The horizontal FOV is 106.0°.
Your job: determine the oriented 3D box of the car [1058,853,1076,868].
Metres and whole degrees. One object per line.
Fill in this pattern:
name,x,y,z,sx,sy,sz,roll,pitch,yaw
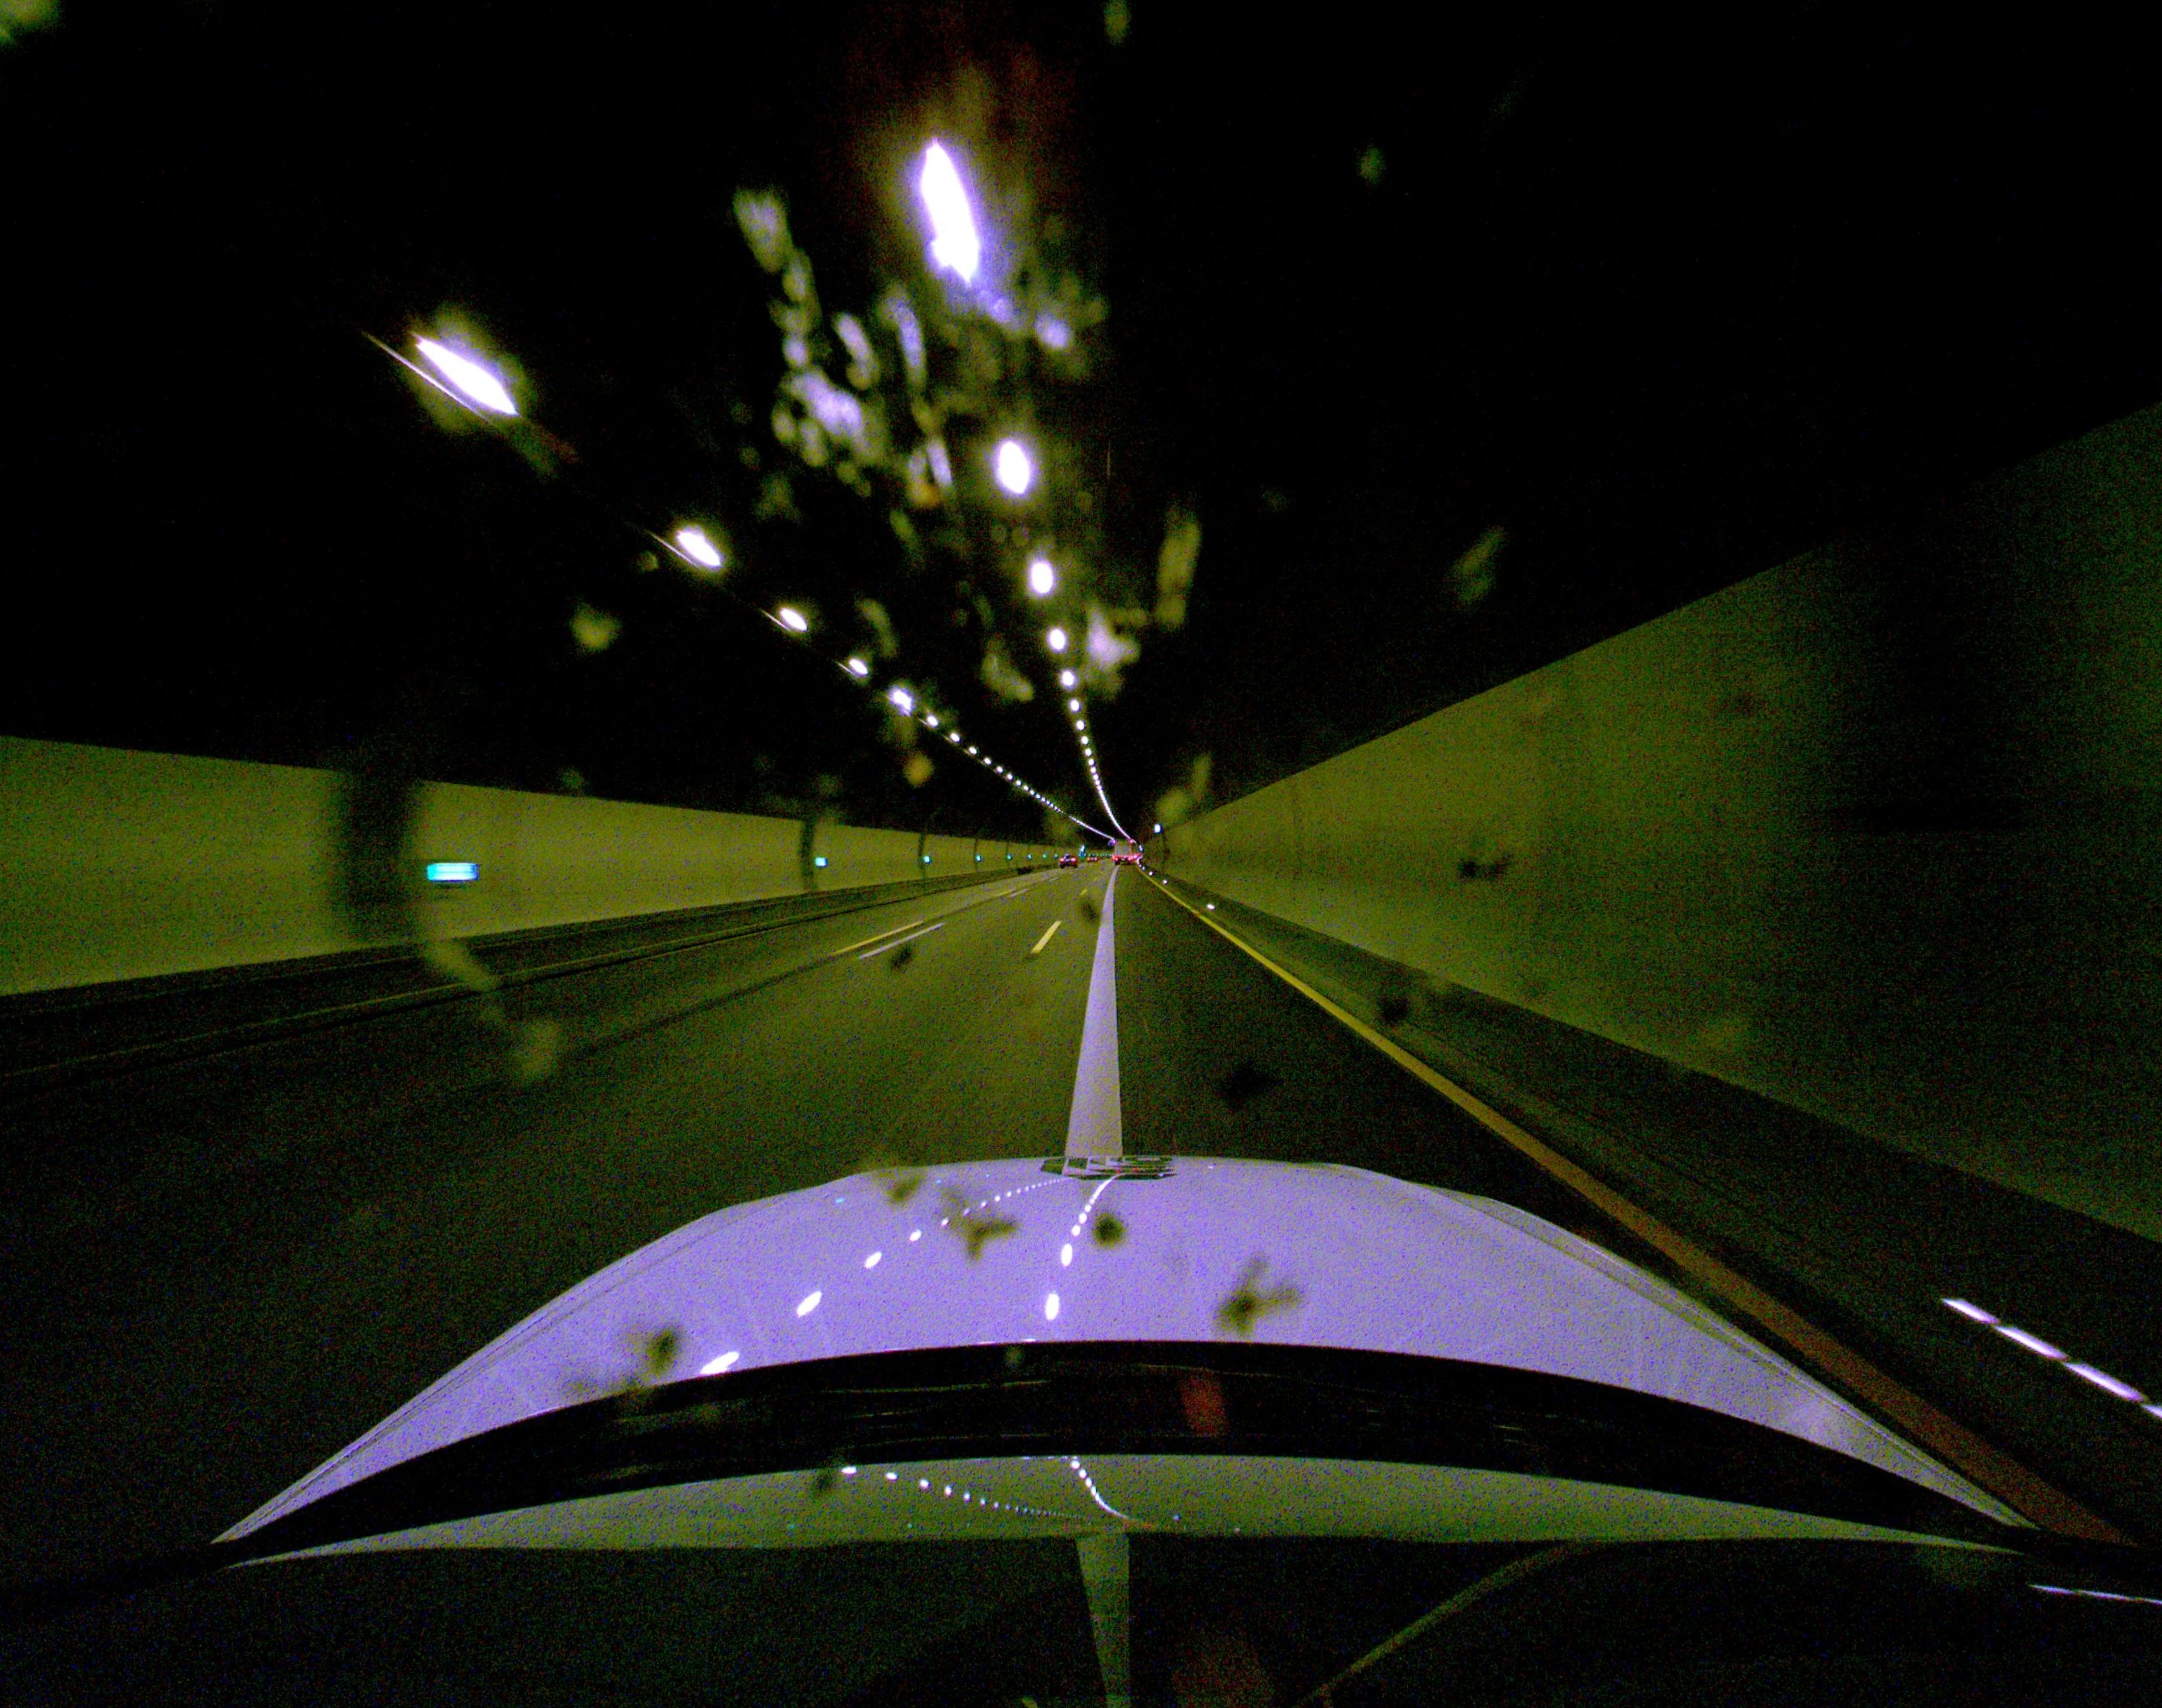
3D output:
car,-1.574,0.694,93.734,1.806,1.618,4.002,-1,0,2

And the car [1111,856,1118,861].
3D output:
car,8.820,1.152,215.427,1.645,1.274,4.001,-1,1,1

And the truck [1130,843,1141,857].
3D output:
truck,16.662,-1.205,248.308,2.911,4.048,14.040,-2,0,3

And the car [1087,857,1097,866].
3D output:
car,2.092,1.299,149.478,1.806,1.520,4.001,-1,1,1

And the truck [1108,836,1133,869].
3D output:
truck,5.948,-0.243,125.730,3.267,4.650,17.288,-2,0,1
